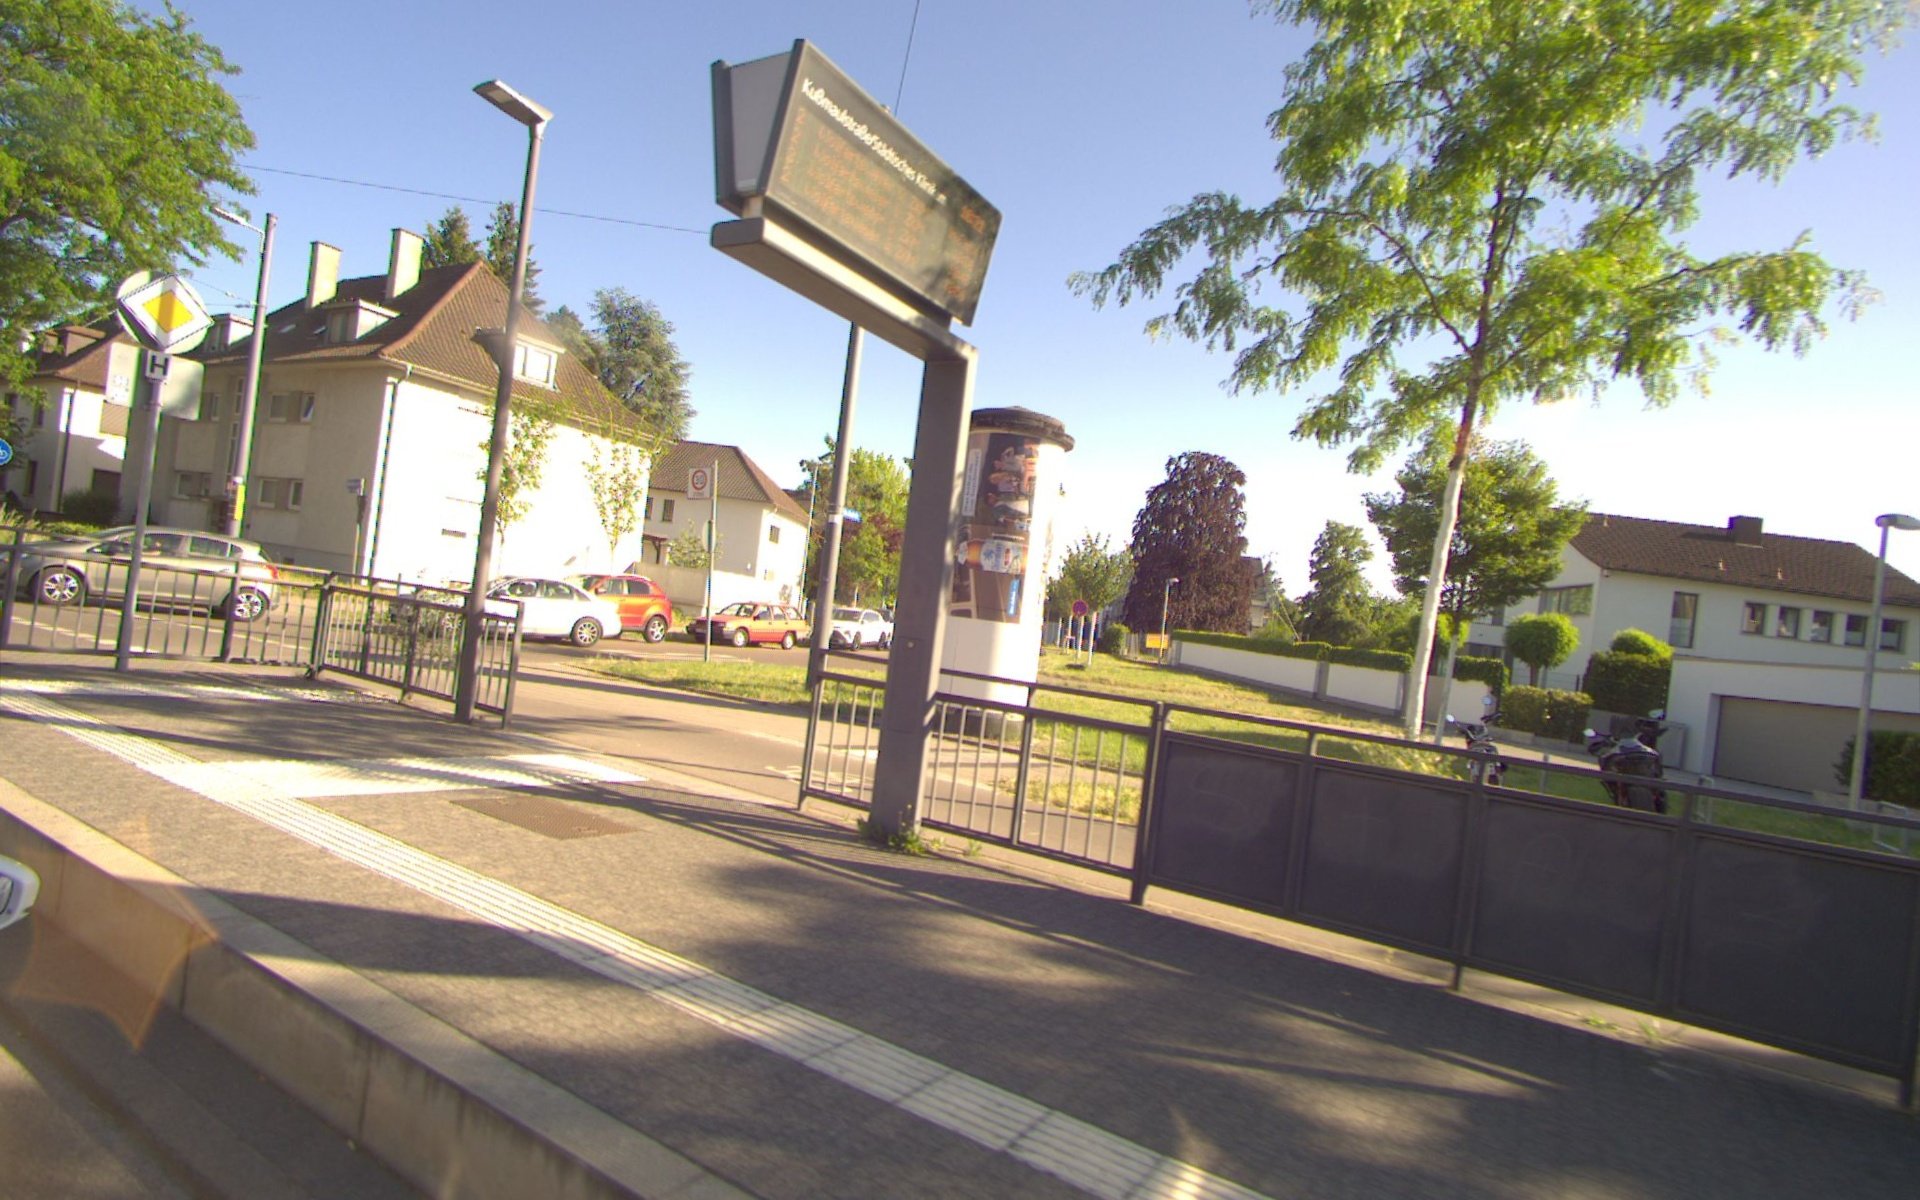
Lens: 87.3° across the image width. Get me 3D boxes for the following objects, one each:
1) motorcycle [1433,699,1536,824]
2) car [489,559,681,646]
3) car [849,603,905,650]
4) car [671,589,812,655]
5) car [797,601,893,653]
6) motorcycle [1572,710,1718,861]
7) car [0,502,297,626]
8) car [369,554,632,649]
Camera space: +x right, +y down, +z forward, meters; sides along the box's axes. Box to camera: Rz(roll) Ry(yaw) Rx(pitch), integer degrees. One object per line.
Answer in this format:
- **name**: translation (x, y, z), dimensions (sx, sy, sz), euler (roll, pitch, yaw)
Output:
- **motorcycle**: translation (6.007, 1.800, 11.631), dimensions (0.847, 1.171, 2.004), euler (7, -1, 25)
- **car**: translation (-9.473, 0.120, 25.743), dimensions (1.948, 1.661, 4.172), euler (7, -2, 30)
- **car**: translation (-3.510, 1.117, 41.911), dimensions (1.966, 1.591, 3.999), euler (9, -3, -6)
- **car**: translation (-6.614, 0.729, 30.901), dimensions (1.947, 1.525, 4.175), euler (7, -2, 26)
- **car**: translation (-4.126, 1.036, 36.814), dimensions (1.944, 1.525, 4.181), euler (7, -2, 15)
- **motorcycle**: translation (7.307, 1.913, 10.855), dimensions (0.847, 1.289, 2.083), euler (7, -1, 25)
- **car**: translation (-13.995, -0.579, 17.201), dimensions (1.954, 1.525, 3.984), euler (6, -2, 41)
- **car**: translation (-9.611, 0.084, 21.370), dimensions (1.954, 1.483, 4.600), euler (4, -3, 40)
